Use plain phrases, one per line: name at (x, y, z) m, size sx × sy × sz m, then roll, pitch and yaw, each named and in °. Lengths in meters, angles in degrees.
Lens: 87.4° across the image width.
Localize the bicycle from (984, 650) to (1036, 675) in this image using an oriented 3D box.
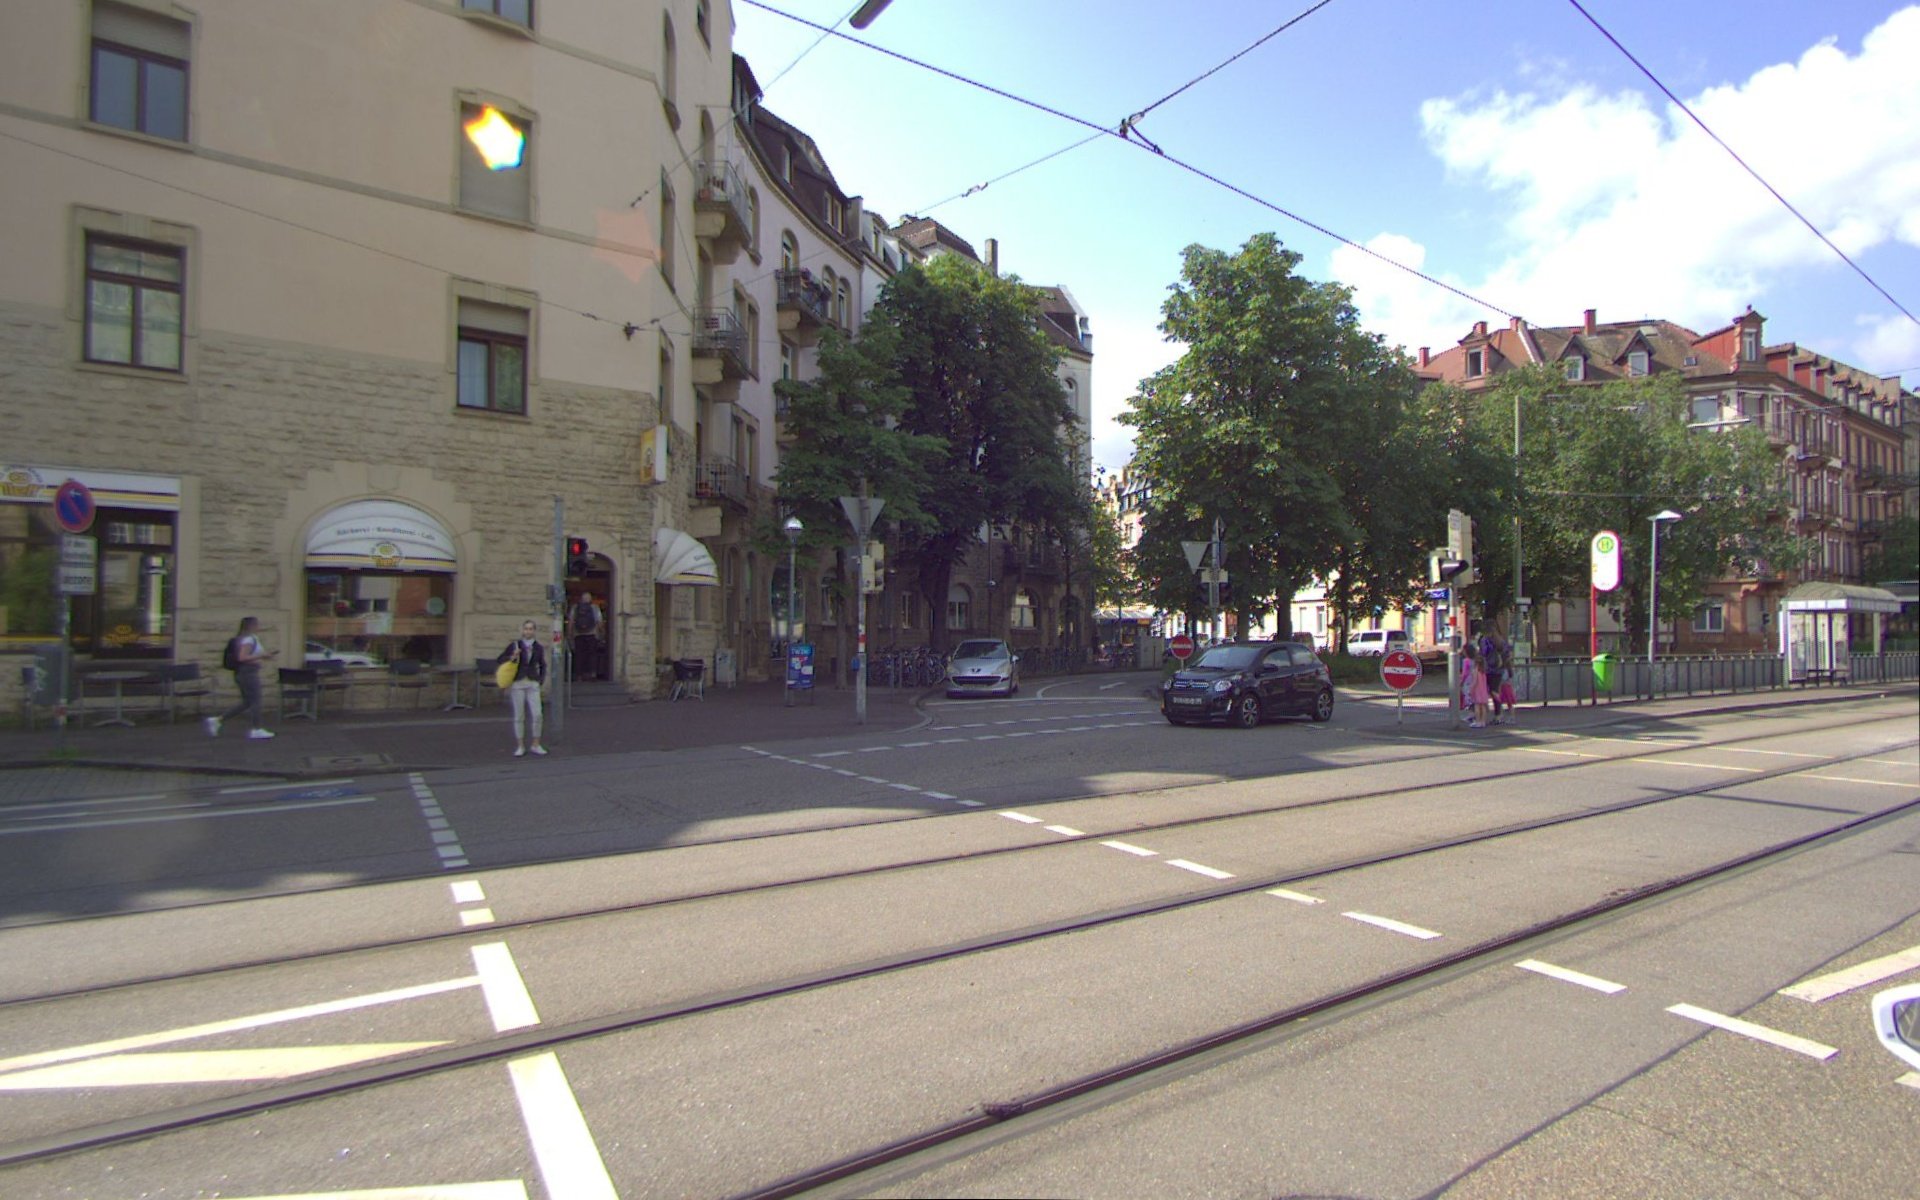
bicycle at (1.998, 2.498, 40.386) m, size 1.993 × 0.910 × 0.571 m, roll 1°, pitch -2°, yaw 25°

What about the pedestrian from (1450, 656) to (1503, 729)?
pedestrian at (8.376, 1.488, 16.294) m, size 0.440 × 1.128 × 0.636 m, roll 2°, pitch -2°, yaw -39°

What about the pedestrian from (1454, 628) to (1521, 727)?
pedestrian at (8.749, 1.265, 16.669) m, size 0.792 × 1.586 × 0.722 m, roll 2°, pitch -2°, yaw -39°

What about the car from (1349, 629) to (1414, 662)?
car at (25.992, 2.780, 62.023) m, size 1.823 × 2.015 × 3.941 m, roll 1°, pitch -2°, yaw -11°

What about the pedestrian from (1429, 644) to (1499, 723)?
pedestrian at (8.796, 1.449, 17.535) m, size 0.711 × 1.320 × 0.819 m, roll 2°, pitch -5°, yaw -39°

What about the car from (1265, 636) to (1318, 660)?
car at (23.600, 3.411, 71.678) m, size 1.883 × 1.685 × 3.933 m, roll 1°, pitch -2°, yaw -12°

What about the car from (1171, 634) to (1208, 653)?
car at (19.840, 3.765, 87.038) m, size 1.687 × 1.575 × 3.911 m, roll 1°, pitch -2°, yaw -12°

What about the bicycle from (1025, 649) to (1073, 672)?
bicycle at (3.845, 2.622, 43.430) m, size 1.994 × 0.910 × 0.571 m, roll 1°, pitch -2°, yaw 28°

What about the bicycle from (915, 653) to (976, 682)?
bicycle at (-0.490, 2.264, 33.988) m, size 1.990 × 0.894 × 0.547 m, roll 1°, pitch -2°, yaw 12°

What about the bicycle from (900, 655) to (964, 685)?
bicycle at (-0.903, 2.244, 32.320) m, size 1.990 × 0.894 × 0.512 m, roll 1°, pitch -2°, yaw 12°

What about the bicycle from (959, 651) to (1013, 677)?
bicycle at (0.997, 2.439, 38.382) m, size 1.991 × 0.910 × 0.546 m, roll 1°, pitch -2°, yaw 21°

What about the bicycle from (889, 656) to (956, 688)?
bicycle at (-1.157, 2.219, 30.990) m, size 1.990 × 0.894 × 0.512 m, roll 1°, pitch -2°, yaw 12°

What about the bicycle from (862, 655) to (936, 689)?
bicycle at (-1.730, 2.033, 28.470) m, size 1.990 × 0.894 × 0.523 m, roll 1°, pitch -2°, yaw 12°

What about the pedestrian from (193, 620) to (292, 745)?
pedestrian at (-9.586, 1.067, 13.425) m, size 0.686 × 1.562 × 0.957 m, roll 4°, pitch 2°, yaw 44°

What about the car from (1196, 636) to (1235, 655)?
car at (20.932, 3.705, 82.340) m, size 1.603 × 1.513 × 3.637 m, roll 1°, pitch -2°, yaw -14°

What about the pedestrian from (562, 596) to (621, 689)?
pedestrian at (-6.980, 0.797, 19.006) m, size 0.849 × 1.694 × 0.814 m, roll 1°, pitch -2°, yaw -36°

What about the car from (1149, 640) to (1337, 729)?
car at (5.020, 1.428, 17.643) m, size 3.411 × 1.405 × 1.610 m, roll 2°, pitch -4°, yaw -42°

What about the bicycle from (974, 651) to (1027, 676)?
bicycle at (1.572, 2.476, 39.504) m, size 1.992 × 0.910 × 0.572 m, roll 1°, pitch -2°, yaw 23°

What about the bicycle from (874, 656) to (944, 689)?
bicycle at (-1.507, 2.149, 29.801) m, size 1.990 × 0.894 × 0.512 m, roll 1°, pitch -2°, yaw 12°

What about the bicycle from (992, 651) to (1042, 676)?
bicycle at (2.329, 2.588, 41.116) m, size 1.993 × 0.910 × 0.571 m, roll 1°, pitch -2°, yaw 25°

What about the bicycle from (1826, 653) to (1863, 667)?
bicycle at (48.780, 3.310, 55.407) m, size 1.677 × 0.757 × 0.386 m, roll 0°, pitch -2°, yaw 1°

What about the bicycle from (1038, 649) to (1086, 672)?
bicycle at (4.472, 2.646, 44.083) m, size 1.994 × 0.910 × 0.571 m, roll 1°, pitch -2°, yaw 28°

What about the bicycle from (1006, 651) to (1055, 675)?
bicycle at (2.979, 2.652, 42.307) m, size 1.994 × 0.910 × 0.571 m, roll 1°, pitch -2°, yaw 28°

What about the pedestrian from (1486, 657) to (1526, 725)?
pedestrian at (9.248, 1.538, 17.016) m, size 0.420 × 1.122 × 0.434 m, roll 2°, pitch -4°, yaw -39°

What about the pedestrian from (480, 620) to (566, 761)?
pedestrian at (-5.738, 1.152, 13.183) m, size 0.865 × 1.727 × 0.751 m, roll 1°, pitch 2°, yaw -35°

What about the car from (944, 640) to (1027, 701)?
car at (0.742, 1.774, 26.184) m, size 1.686 × 1.438 × 3.877 m, roll 0°, pitch -2°, yaw 9°
